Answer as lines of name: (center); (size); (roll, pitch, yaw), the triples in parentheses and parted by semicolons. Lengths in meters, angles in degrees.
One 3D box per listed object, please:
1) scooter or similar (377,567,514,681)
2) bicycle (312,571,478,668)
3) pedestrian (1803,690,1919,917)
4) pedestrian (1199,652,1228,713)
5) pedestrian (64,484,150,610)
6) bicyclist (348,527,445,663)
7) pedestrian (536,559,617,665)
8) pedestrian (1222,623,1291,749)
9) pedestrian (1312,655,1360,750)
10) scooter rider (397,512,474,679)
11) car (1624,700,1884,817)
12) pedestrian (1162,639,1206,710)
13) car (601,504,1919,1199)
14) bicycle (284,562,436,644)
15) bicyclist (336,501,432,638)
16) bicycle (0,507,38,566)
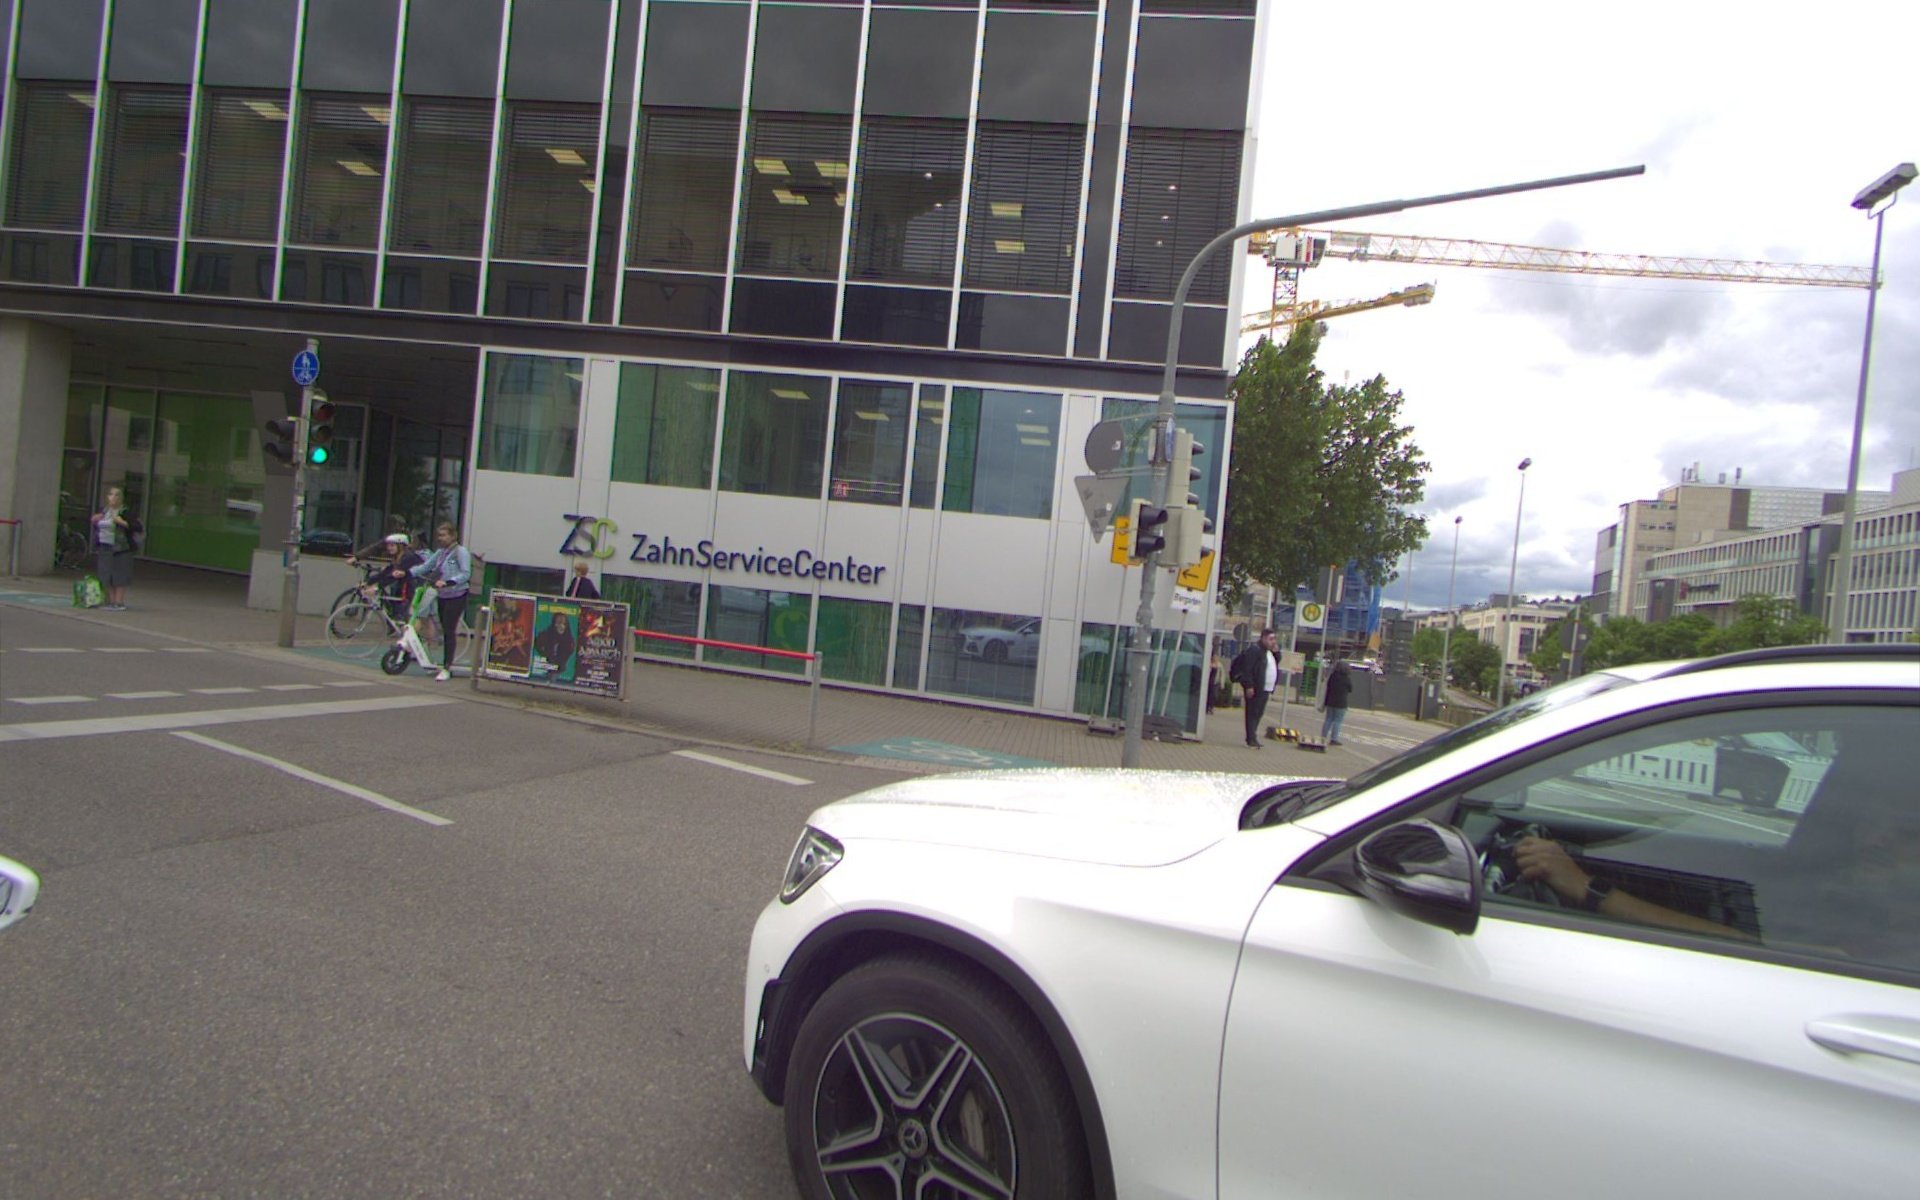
scooter or similar: (-5.960, 0.282, 11.677); (1.308, 1.191, 0.588); (5, 1, -30)
bicycle: (-6.989, 0.242, 12.515); (1.644, 1.040, 0.579); (6, 1, -17)
pedestrian: (7.751, 1.671, 8.388); (0.538, 1.719, 0.801); (6, 1, -6)
pedestrian: (6.783, 2.198, 26.935); (0.508, 1.554, 0.553); (6, 1, 4)
pedestrian: (-12.335, -0.753, 14.561); (0.738, 1.734, 0.526); (5, 2, 7)
bicyclist: (-6.981, -0.060, 12.501); (0.833, 1.569, 0.563); (5, 2, -17)
pedestrian: (-5.704, 0.171, 14.990); (0.823, 1.461, 0.606); (6, 2, 8)
pedestrian: (4.419, 1.268, 15.028); (0.626, 1.770, 0.590); (6, 1, -4)
pedestrian: (7.181, 1.944, 19.209); (0.626, 1.700, 0.590); (7, 1, 27)
scooter rider: (-6.046, -0.048, 11.597); (0.636, 1.832, 0.588); (5, 2, -30)
car: (16.197, 3.180, 20.804); (1.965, 1.596, 3.805); (6, 0, -7)
pedestrian: (6.014, 1.984, 27.036); (0.858, 1.768, 0.847); (6, 1, 4)
car: (1.437, 0.854, 2.185); (4.262, 1.668, 1.803); (7, 1, 32)
bicycle: (-8.549, 0.053, 14.409); (0.668, 1.020, 1.766); (9, 2, 20)
bicyclist: (-8.384, -0.428, 14.654); (0.662, 1.868, 0.814); (7, 0, 18)
bicycle: (-18.707, -1.278, 19.162); (1.461, 1.061, 0.713); (7, 0, -9)
